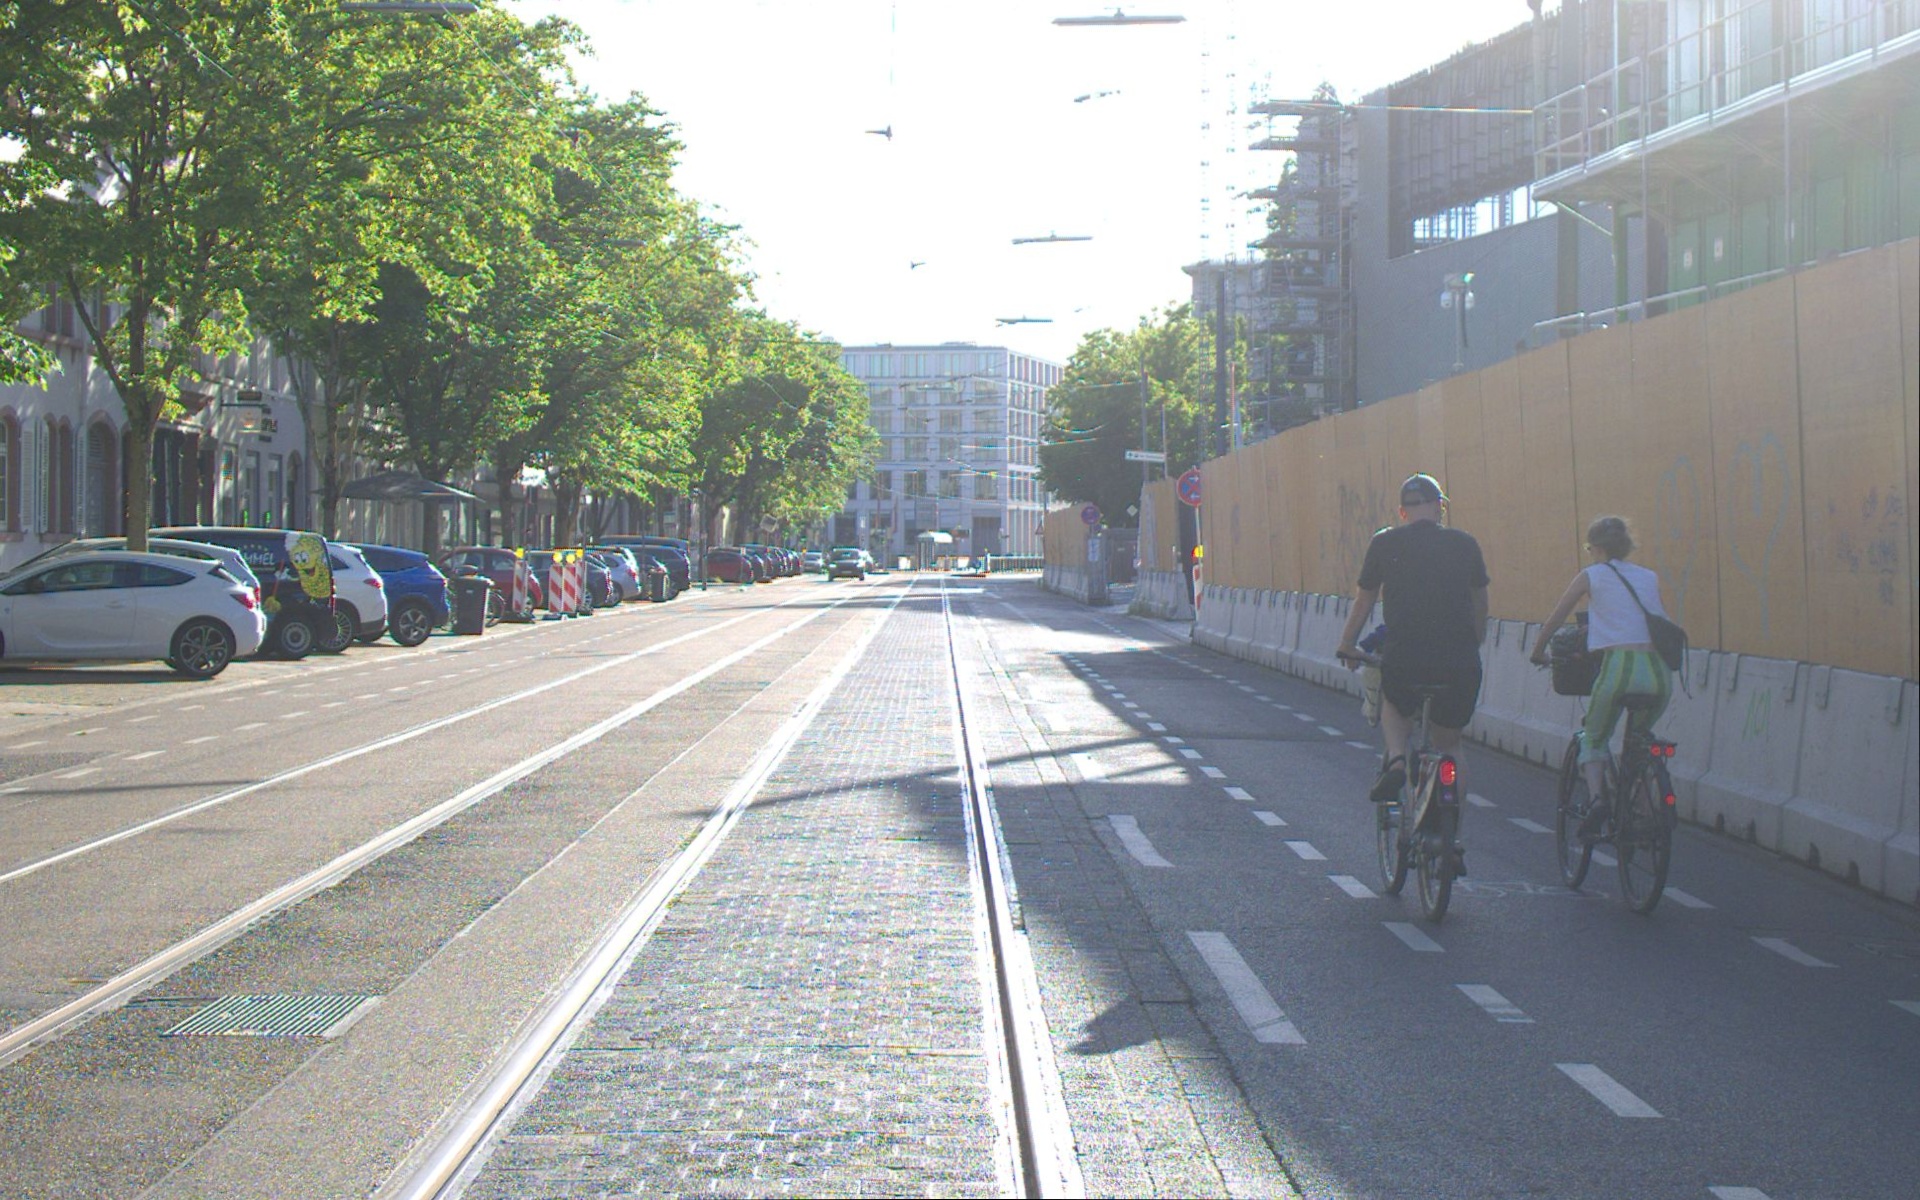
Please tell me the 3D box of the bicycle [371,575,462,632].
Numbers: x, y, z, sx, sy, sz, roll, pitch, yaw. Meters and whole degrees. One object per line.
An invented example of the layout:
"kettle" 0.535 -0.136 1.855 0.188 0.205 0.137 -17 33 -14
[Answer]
"bicycle" -9.988 0.061 63.180 1.599 0.984 0.389 2 1 -10

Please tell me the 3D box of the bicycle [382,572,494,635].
"bicycle" -9.848 0.071 64.860 1.968 1.075 0.568 3 1 2

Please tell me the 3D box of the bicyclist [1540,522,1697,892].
"bicyclist" 2.918 0.461 15.265 0.556 1.607 0.576 -1 1 -2

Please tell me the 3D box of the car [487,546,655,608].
"car" -10.553 -0.628 93.256 4.103 1.507 1.841 2 1 -26

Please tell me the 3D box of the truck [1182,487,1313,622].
"truck" 6.529 -1.041 78.687 2.520 2.899 5.507 -2 1 1

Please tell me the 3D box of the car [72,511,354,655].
"car" -10.474 -0.204 48.237 3.434 1.837 1.733 2 -3 -34

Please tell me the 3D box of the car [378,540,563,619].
"car" -10.714 -0.440 75.236 3.612 1.548 1.669 2 2 -26

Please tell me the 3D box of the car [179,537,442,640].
"car" -10.516 -0.204 55.760 3.890 1.603 1.573 -1 1 -37

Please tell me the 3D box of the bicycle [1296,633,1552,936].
"bicycle" 1.988 0.759 15.033 0.667 1.150 2.276 2 1 -3

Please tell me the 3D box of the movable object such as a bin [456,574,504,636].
"movable object such as a bin" -8.716 0.087 62.440 0.684 1.074 0.710 4 1 1

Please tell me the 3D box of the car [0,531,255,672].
"car" -10.496 0.006 41.404 3.634 1.524 1.887 3 0 -20

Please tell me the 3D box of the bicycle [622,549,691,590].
"bicycle" -9.109 -0.922 103.271 1.965 1.140 0.493 2 0 -18

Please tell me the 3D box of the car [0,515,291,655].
"car" -11.127 -0.205 45.579 3.986 1.651 1.811 3 1 -30

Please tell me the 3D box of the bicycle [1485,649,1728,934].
"bicycle" 2.893 0.822 15.588 0.557 1.123 2.276 -1 1 -3

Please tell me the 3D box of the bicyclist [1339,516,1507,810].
"bicyclist" 1.973 0.262 14.687 0.651 1.233 0.353 -1 1 -2

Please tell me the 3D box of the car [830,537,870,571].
"car" -5.632 -2.375 176.474 1.927 1.624 4.249 -2 2 -1

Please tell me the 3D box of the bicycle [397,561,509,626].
"bicycle" -9.757 -0.124 66.185 2.003 1.084 0.567 5 1 2

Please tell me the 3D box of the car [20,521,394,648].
"car" -11.072 -0.240 50.755 4.926 1.788 2.208 0 1 -41

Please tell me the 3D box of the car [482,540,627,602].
"car" -10.652 -0.760 90.353 3.362 1.488 1.613 2 1 -28
